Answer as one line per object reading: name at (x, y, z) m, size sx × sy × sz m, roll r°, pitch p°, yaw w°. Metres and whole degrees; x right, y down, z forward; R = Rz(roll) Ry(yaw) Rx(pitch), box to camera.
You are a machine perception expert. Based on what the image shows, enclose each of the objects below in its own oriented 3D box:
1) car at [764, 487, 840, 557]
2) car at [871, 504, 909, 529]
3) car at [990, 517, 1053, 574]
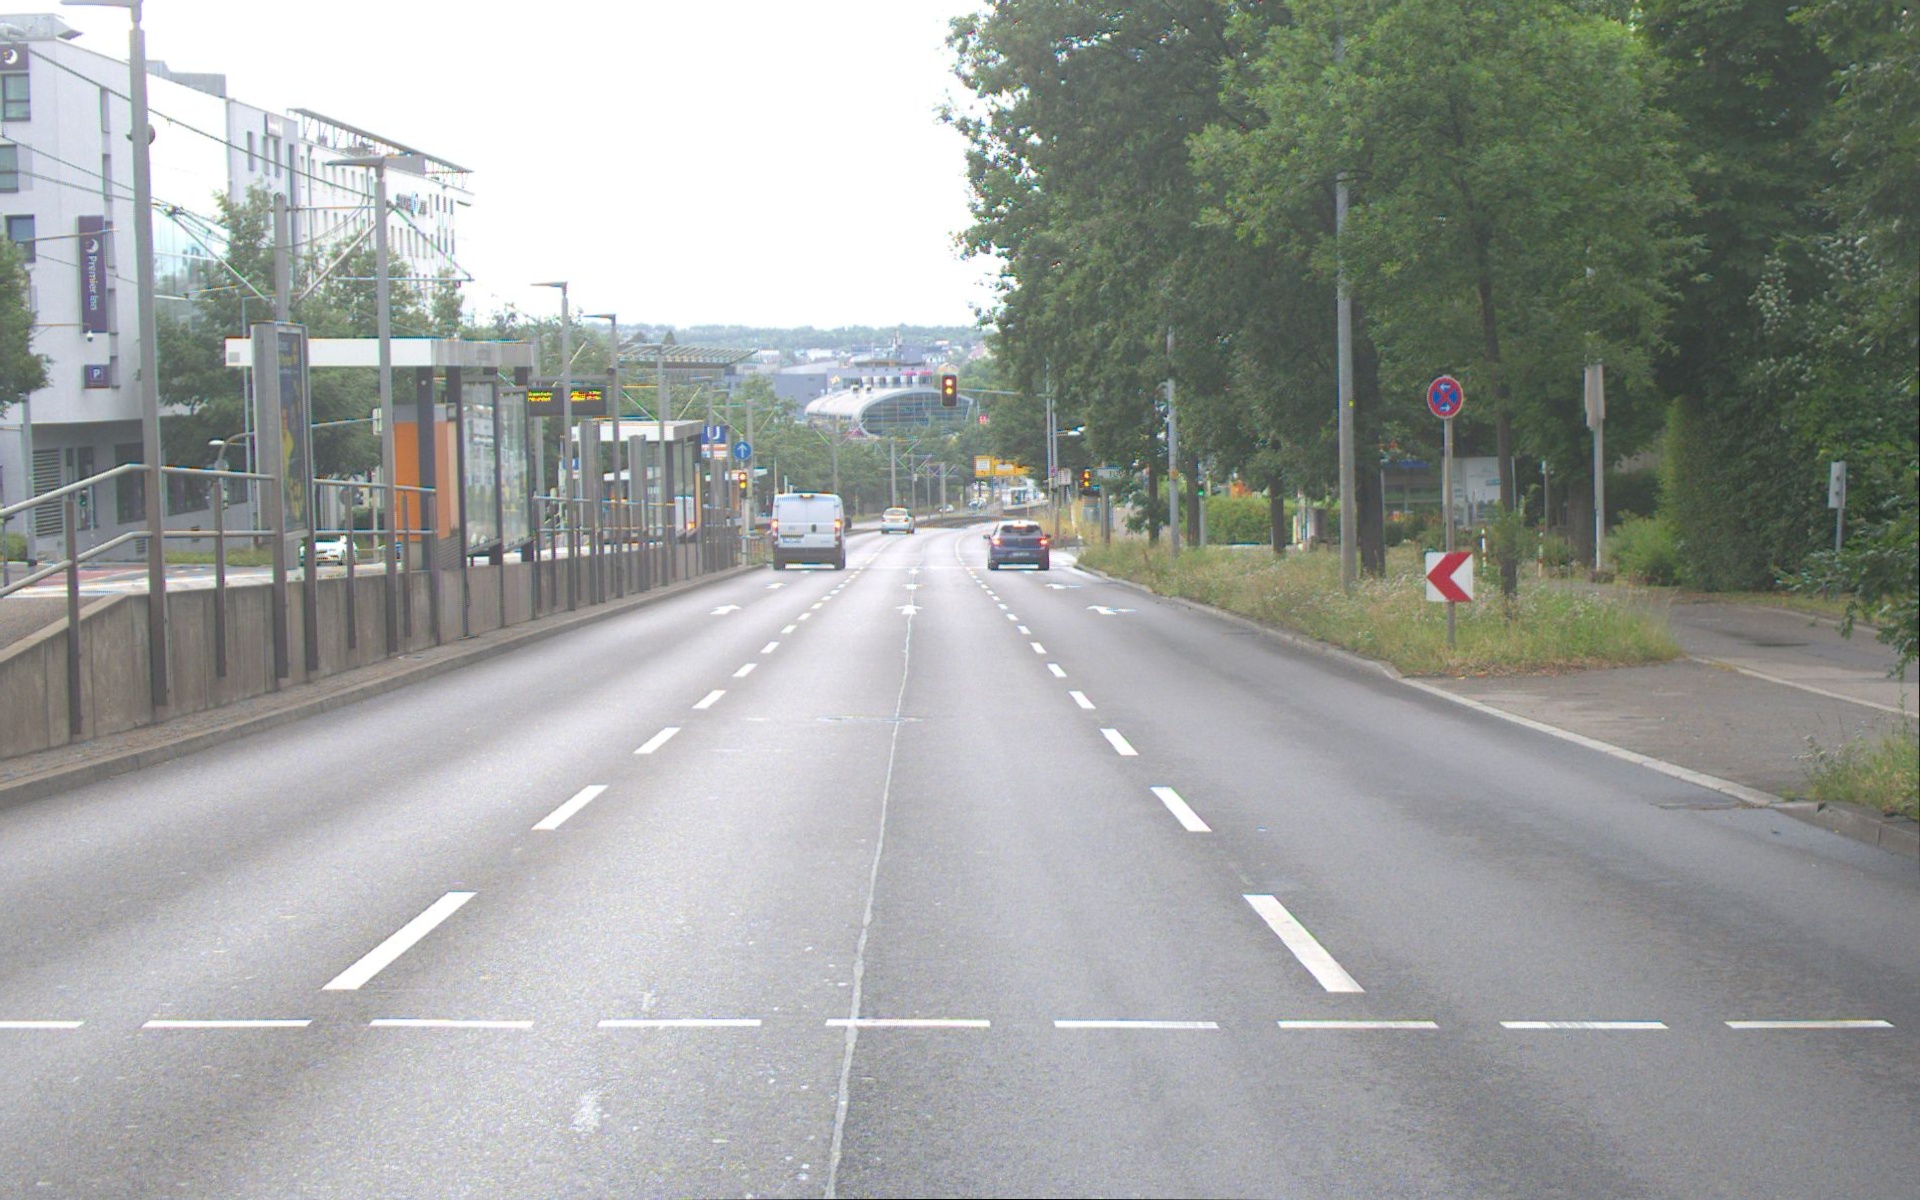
car at (-4.688, -2.330, 102.502) m, size 2.093 × 2.046 × 4.607 m, roll 0°, pitch 1°, yaw -1°
car at (-4.001, -4.806, 197.743) m, size 1.783 × 1.385 × 4.000 m, roll 0°, pitch 1°, yaw 5°
car at (1.825, -1.642, 102.793) m, size 1.774 × 1.685 × 3.846 m, roll 0°, pitch 1°, yaw -1°
